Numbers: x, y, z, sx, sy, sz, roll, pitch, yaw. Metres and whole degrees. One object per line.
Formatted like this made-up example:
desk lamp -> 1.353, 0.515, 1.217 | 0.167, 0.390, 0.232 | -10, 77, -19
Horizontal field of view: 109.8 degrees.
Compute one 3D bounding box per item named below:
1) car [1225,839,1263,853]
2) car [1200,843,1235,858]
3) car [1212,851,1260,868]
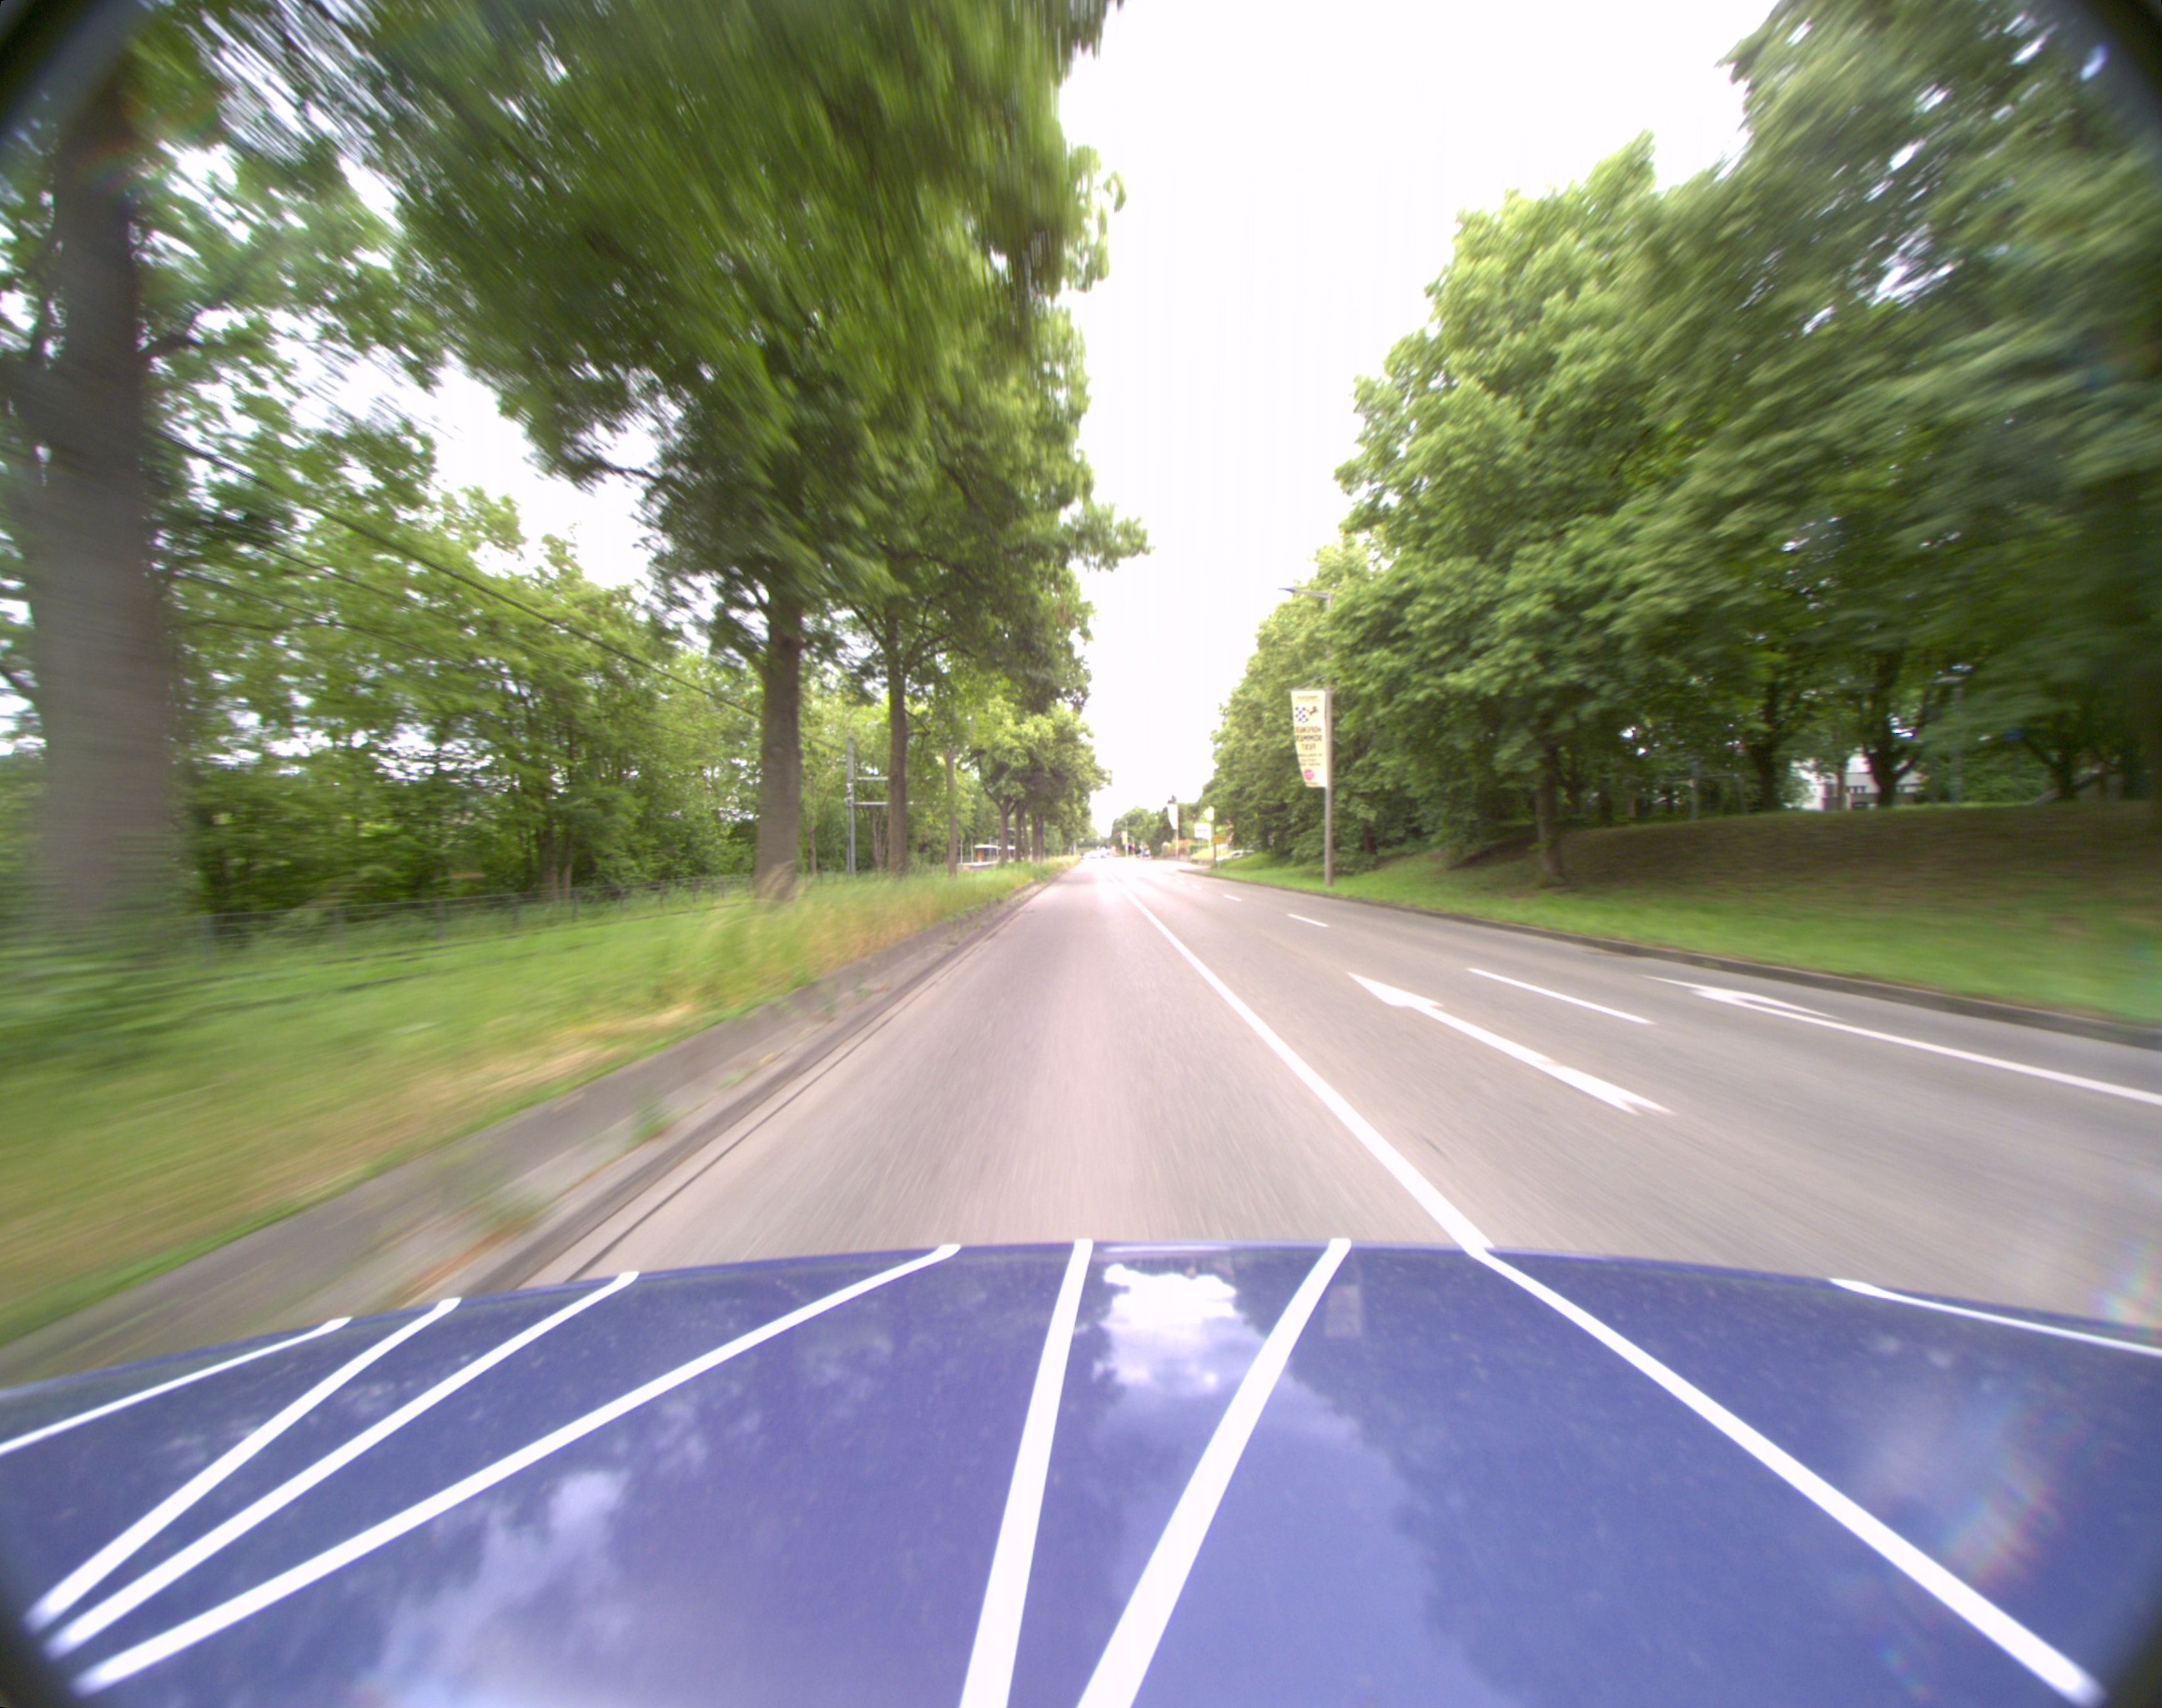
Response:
car -> 19.012, -0.945, 88.743 | 3.997, 1.499, 1.734 | -2, 1, 1
car -> 16.562, -0.439, 92.366 | 3.905, 1.608, 1.879 | -2, 1, 1
car -> 15.198, 0.524, 74.660 | 4.220, 1.483, 1.749 | -2, -1, -3
